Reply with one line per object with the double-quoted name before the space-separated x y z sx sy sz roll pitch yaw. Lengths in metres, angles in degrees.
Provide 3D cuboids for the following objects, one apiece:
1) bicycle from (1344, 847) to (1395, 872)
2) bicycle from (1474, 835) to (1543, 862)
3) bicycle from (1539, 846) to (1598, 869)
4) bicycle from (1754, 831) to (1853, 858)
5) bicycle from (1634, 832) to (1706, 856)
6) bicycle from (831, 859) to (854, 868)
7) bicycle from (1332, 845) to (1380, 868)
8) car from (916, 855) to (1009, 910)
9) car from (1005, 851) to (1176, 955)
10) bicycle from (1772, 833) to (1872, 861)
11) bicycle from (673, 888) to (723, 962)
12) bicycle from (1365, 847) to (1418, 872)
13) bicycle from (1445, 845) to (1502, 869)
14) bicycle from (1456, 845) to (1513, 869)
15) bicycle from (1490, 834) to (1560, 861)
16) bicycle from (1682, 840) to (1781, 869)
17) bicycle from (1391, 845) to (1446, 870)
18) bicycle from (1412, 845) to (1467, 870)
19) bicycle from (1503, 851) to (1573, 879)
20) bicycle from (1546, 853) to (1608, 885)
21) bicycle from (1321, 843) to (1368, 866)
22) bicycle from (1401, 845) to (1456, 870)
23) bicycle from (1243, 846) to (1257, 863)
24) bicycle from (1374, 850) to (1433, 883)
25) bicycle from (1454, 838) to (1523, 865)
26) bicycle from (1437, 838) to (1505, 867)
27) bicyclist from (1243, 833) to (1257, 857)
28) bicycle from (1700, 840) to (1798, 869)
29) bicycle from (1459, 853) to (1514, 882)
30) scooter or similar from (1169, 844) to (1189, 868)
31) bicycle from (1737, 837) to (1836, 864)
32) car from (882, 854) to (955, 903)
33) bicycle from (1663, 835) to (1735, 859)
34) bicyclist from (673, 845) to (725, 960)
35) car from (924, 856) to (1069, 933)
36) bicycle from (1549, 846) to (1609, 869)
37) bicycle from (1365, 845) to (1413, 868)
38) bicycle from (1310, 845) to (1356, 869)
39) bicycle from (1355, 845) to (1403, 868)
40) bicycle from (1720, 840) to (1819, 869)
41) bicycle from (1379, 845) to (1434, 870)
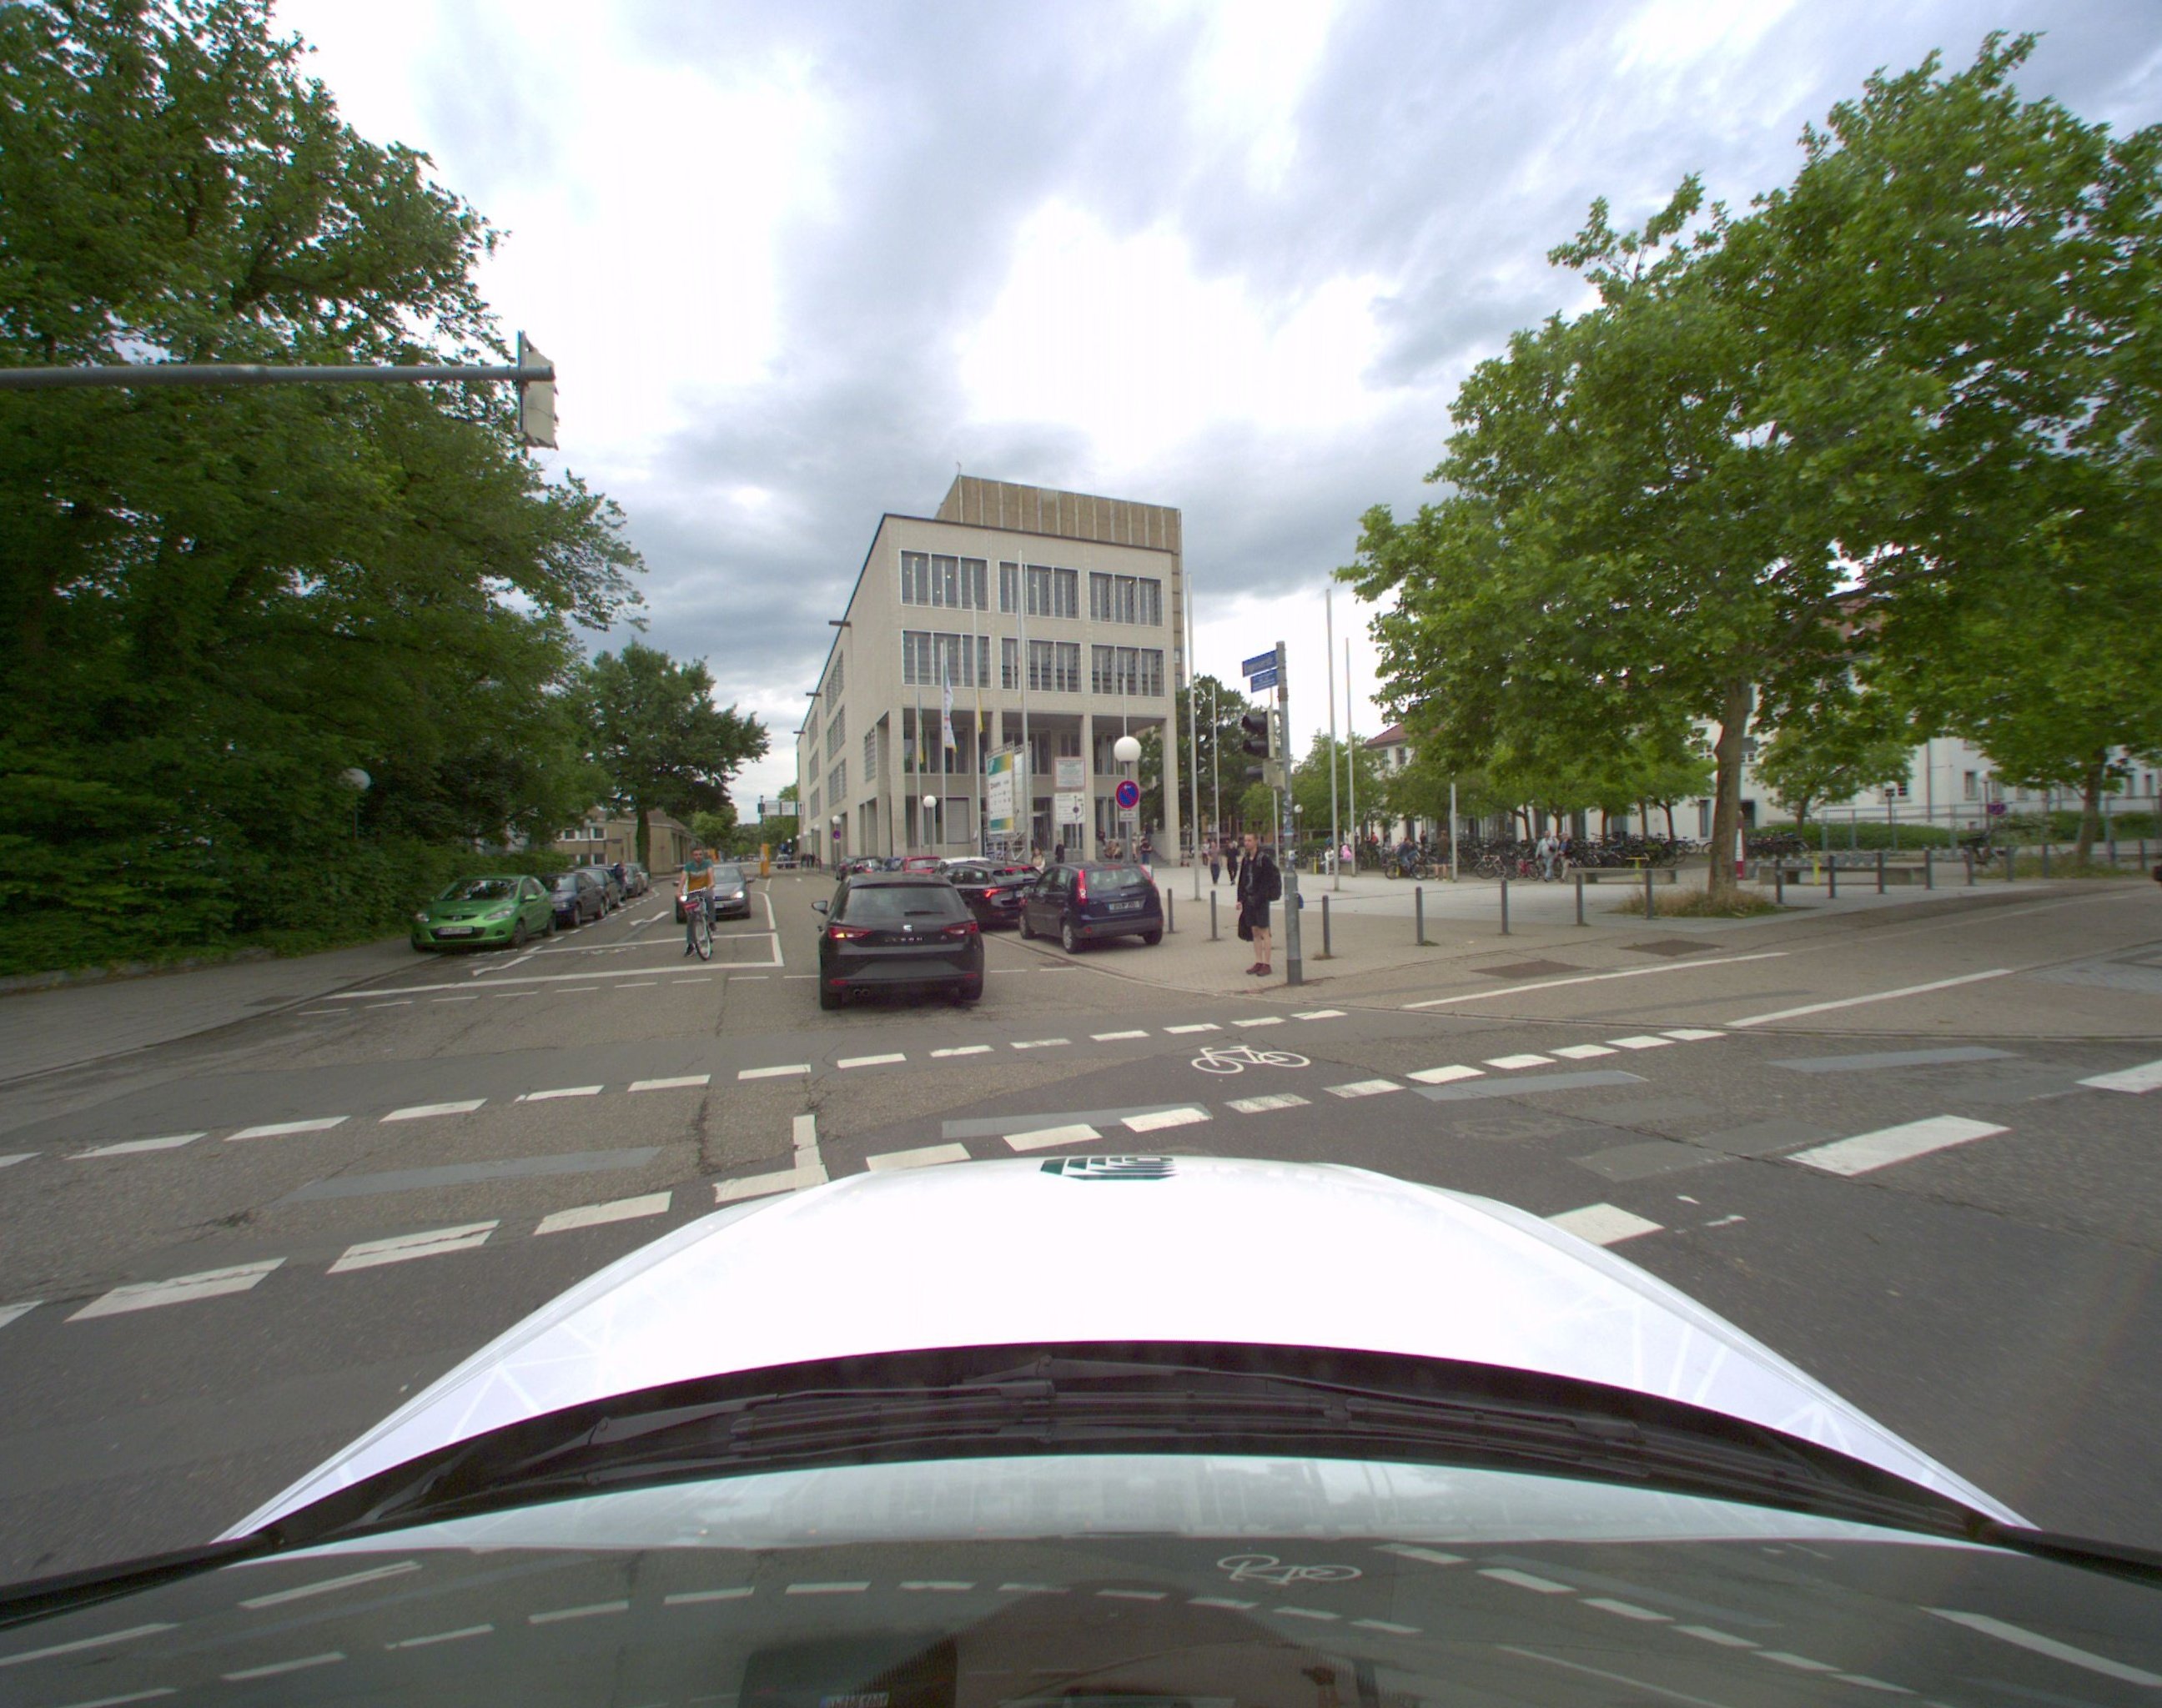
"bicycle" 14.676 0.255 41.526 0.622 1.170 3.087 0 2 -20
"bicycle" 19.466 -0.262 37.165 0.748 1.170 3.087 -1 0 -20
"bicycle" 27.711 0.195 46.374 0.748 1.170 3.086 0 2 -21
"bicycle" 33.048 -0.407 37.343 1.054 1.170 3.375 -1 0 -16
"bicycle" 30.191 -0.539 41.806 0.748 1.170 3.087 0 2 -20
"bicycle" -21.492 0.853 73.453 1.906 0.698 0.489 0 2 -26
"bicycle" 15.346 0.120 45.577 0.748 1.170 3.087 0 2 -20
"car" -3.589 0.772 24.168 1.868 1.453 3.830 -1 0 -22
"car" 0.000 0.766 14.669 1.628 1.501 4.076 -3 1 -21
"bicycle" 34.208 -0.354 37.703 1.054 1.169 3.377 0 2 -16
"bicycle" -6.230 1.116 13.275 0.660 1.037 1.842 -1 0 -25
"bicycle" 16.014 0.255 42.121 0.748 1.170 3.087 0 2 -20
"bicycle" 21.310 0.163 44.324 0.748 1.170 3.086 0 2 -21
"bicycle" 22.041 0.166 44.597 0.748 1.170 3.086 0 2 -21
"bicycle" 20.414 -0.323 37.575 0.748 1.170 3.087 0 2 -20
"bicycle" 28.459 -0.005 35.750 1.054 1.169 3.376 0 2 -16
"bicycle" 17.632 0.163 42.662 0.748 1.170 3.087 0 2 -20
"bicycle" 19.031 0.161 43.353 0.748 1.170 3.087 0 2 -20
"bicycle" 21.390 0.483 38.216 0.748 1.170 3.087 0 2 -20
"bicycle" 17.604 0.516 28.934 0.458 1.049 1.919 -2 1 -26
"bicycle" 14.623 0.007 45.267 0.748 1.170 3.087 0 2 -20
"bicycle" 18.327 0.162 42.997 0.748 1.170 3.088 0 2 -20
"bicycle" 11.341 0.008 54.580 0.867 1.093 1.807 0 1 13
"bicycle" 12.481 0.452 31.605 0.458 1.170 2.394 0 2 -26
"bicycle" 18.341 -0.102 36.777 0.748 1.170 3.087 -1 0 -20
"bicycle" 17.304 -0.088 36.228 0.748 1.170 3.087 0 2 -20
"bicyclist" 11.329 -0.604 54.570 0.867 1.641 0.871 0 0 13
"bicycle" 29.693 -0.005 36.297 1.054 1.169 3.376 0 2 -16
"bicycle" 15.607 0.502 31.390 0.459 1.049 1.914 -2 1 -36
"scooter or similar" 5.922 0.100 49.153 0.400 1.369 1.501 2 2 40
"bicycle" 31.967 -0.141 37.017 1.054 1.170 3.375 -1 -1 -16
"car" -5.799 0.797 28.707 1.719 1.473 4.242 -3 2 -22
"bicycle" 32.385 -0.390 42.736 0.748 1.170 3.087 0 2 -20
"bicyclist" -6.238 0.764 13.283 0.661 1.779 0.974 -1 0 -29
"car" -2.079 0.816 18.684 1.870 1.401 4.441 -4 2 -26
"bicycle" 28.516 0.196 46.710 0.748 1.170 3.086 0 2 -21
"bicycle" 17.706 0.112 46.895 0.748 1.170 3.087 0 2 -20
"bicycle" 13.883 0.150 44.989 0.748 1.170 3.087 0 2 -20
"bicycle" 16.994 0.115 46.484 0.748 1.170 3.087 0 2 -20
"bicycle" 30.914 0.001 36.678 1.054 1.169 3.376 0 2 -16
"bicycle" 16.893 0.160 42.402 0.748 1.170 3.087 0 2 -20
